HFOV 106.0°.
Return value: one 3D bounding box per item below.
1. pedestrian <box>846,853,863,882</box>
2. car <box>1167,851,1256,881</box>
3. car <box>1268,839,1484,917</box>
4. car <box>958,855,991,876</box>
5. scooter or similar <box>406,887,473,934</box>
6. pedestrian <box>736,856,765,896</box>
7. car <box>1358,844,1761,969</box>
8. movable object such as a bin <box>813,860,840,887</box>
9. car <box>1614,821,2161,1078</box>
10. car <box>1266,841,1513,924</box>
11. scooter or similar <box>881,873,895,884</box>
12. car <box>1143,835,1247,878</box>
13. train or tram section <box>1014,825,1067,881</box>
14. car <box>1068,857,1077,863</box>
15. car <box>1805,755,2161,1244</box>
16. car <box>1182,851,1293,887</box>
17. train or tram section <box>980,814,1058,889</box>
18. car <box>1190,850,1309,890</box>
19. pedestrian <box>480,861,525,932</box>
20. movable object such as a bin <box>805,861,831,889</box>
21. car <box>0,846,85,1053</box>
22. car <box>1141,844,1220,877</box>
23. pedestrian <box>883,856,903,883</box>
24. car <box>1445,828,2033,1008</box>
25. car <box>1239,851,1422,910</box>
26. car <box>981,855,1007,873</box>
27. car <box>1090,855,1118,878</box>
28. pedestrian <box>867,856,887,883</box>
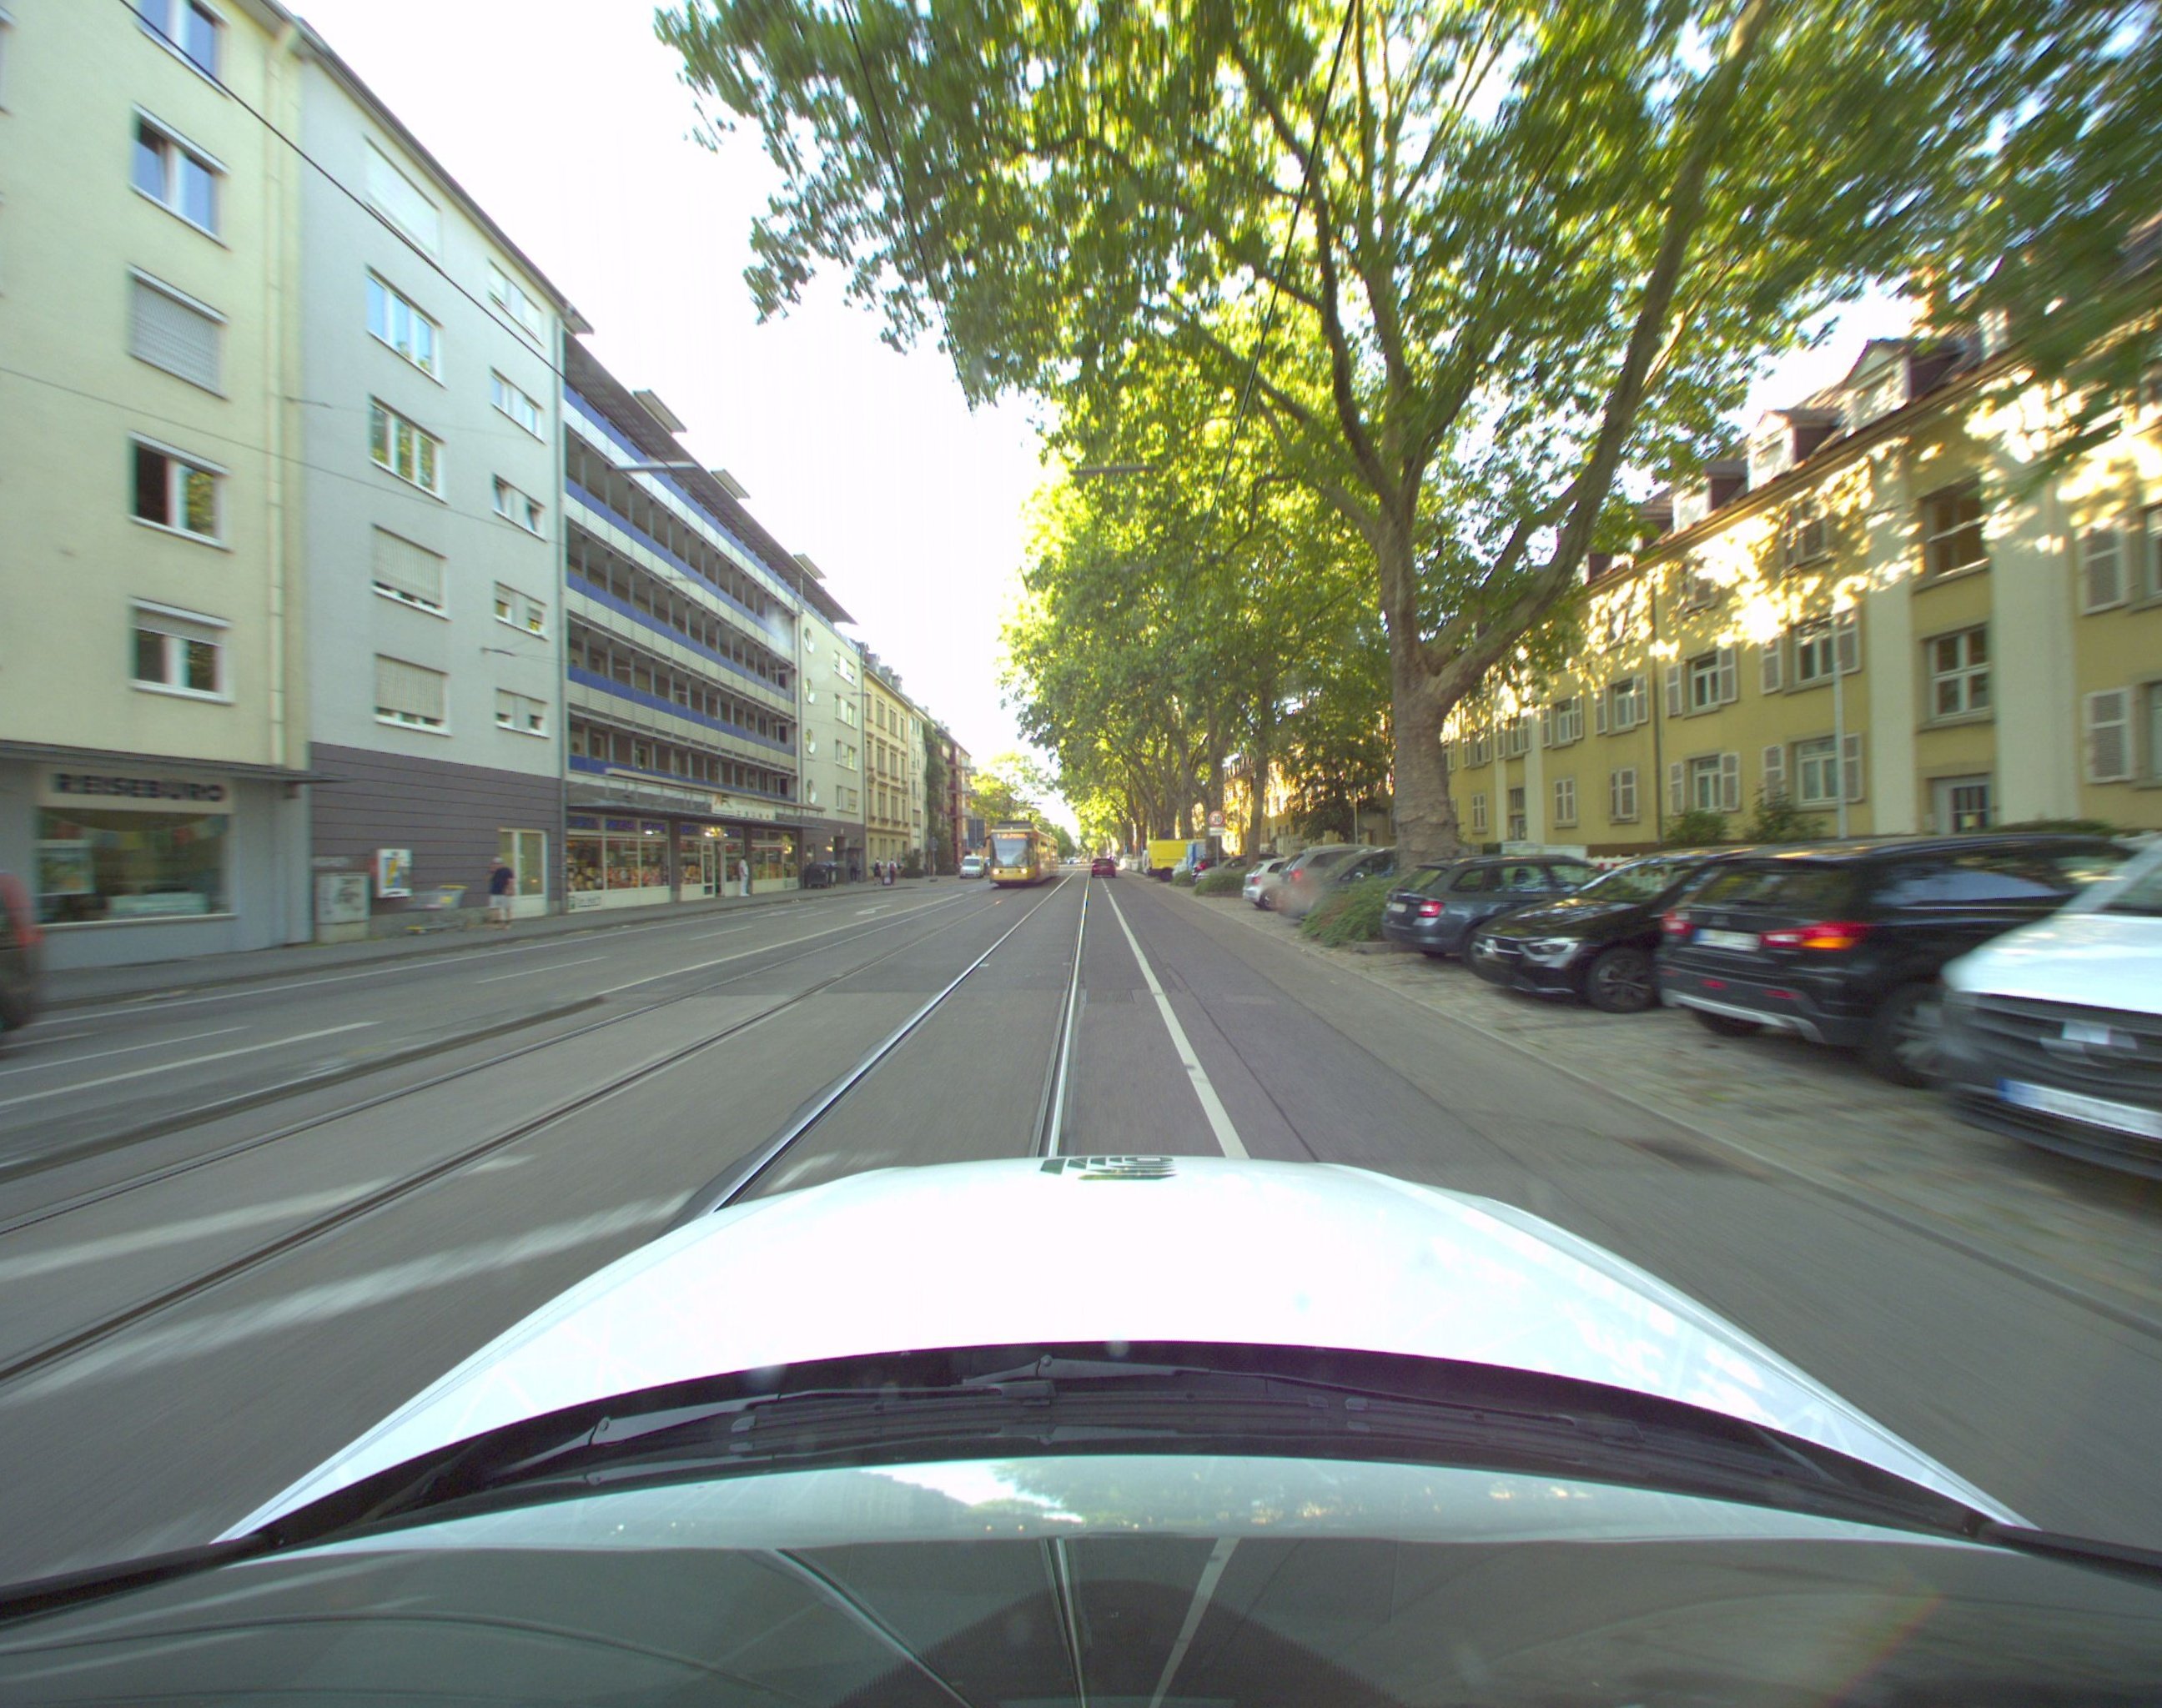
[{"bbox_3d":[-14.544,0.873,52.310,0.897,1.864,0.782,-1,-1,-27],"label":"pedestrian"},{"bbox_3d":[7.333,0.656,45.996,4.698,1.534,1.919,-1,0,-1],"label":"car"},{"bbox_3d":[7.246,0.577,20.348,4.696,1.722,1.920,-2,0,0],"label":"car"},{"bbox_3d":[-8.392,0.878,64.478,1.887,1.564,4.392,-1,0,0],"label":"car"},{"bbox_3d":[-14.361,1.241,18.268,0.465,0.954,1.428,-1,0,-5],"label":"scooter or similar"},{"bbox_3d":[-14.176,0.922,34.956,1.032,1.662,1.220,-1,0,-18],"label":"pedestrian"},{"bbox_3d":[6.511,0.676,11.461,4.572,1.506,1.918,-1,0,-2],"label":"car"},{"bbox_3d":[-13.879,1.068,44.438,1.009,1.428,1.257,-1,0,2],"label":"movable object such as a bin"},{"bbox_3d":[6.884,0.596,6.170,4.390,1.602,1.943,-1,0,2],"label":"car"},{"bbox_3d":[6.627,0.589,17.911,4.695,1.602,1.920,-2,0,1],"label":"car"},{"bbox_3d":[-11.667,1.467,49.190,0.622,0.648,0.766,-1,0,1],"label":"scooter or similar"},{"bbox_3d":[6.704,0.170,48.564,5.923,2.366,2.062,-1,0,1],"label":"car"},{"bbox_3d":[-2.750,-0.048,59.552,2.821,3.638,12.821,-1,0,2],"label":"train or tram section"},{"bbox_3d":[-2.043,1.502,197.252,1.989,1.509,3.995,-1,0,-3],"label":"car"},{"bbox_3d":[6.621,0.439,3.514,5.203,1.826,1.930,-3,-2,0],"label":"car"},{"bbox_3d":[7.197,0.667,37.724,4.700,1.534,1.918,-1,0,-2],"label":"car"},{"bbox_3d":[-3.218,-0.110,46.563,2.850,3.638,13.205,-1,0,2],"label":"train or tram section"},{"bbox_3d":[7.180,0.667,35.064,4.699,1.534,1.918,-1,0,-2],"label":"car"},{"bbox_3d":[-13.752,0.992,19.365,0.664,1.648,0.622,-1,0,-15],"label":"pedestrian"},{"bbox_3d":[-13.858,1.090,43.000,1.010,1.428,1.143,-1,0,-4],"label":"movable object such as a bin"},{"bbox_3d":[-10.525,0.861,5.559,1.900,1.806,4.367,-1,0,4],"label":"car"},{"bbox_3d":[7.050,0.432,58.221,5.422,2.192,2.062,-1,0,1],"label":"car"},{"bbox_3d":[-11.539,0.934,50.016,0.889,1.624,1.035,-1,0,1],"label":"pedestrian"},{"bbox_3d":[6.678,0.616,8.721,4.695,1.602,1.920,-2,0,1],"label":"car"},{"bbox_3d":[7.118,0.738,23.588,4.696,1.534,1.920,-2,0,0],"label":"car"},{"bbox_3d":[-7.960,0.911,75.060,1.887,1.564,4.392,-1,0,0],"label":"car"},{"bbox_3d":[1.715,0.920,59.999,1.886,1.564,4.394,-3,-1,2],"label":"car"},{"bbox_3d":[-12.379,0.936,49.437,0.889,1.624,1.035,-1,0,1],"label":"pedestrian"}]
